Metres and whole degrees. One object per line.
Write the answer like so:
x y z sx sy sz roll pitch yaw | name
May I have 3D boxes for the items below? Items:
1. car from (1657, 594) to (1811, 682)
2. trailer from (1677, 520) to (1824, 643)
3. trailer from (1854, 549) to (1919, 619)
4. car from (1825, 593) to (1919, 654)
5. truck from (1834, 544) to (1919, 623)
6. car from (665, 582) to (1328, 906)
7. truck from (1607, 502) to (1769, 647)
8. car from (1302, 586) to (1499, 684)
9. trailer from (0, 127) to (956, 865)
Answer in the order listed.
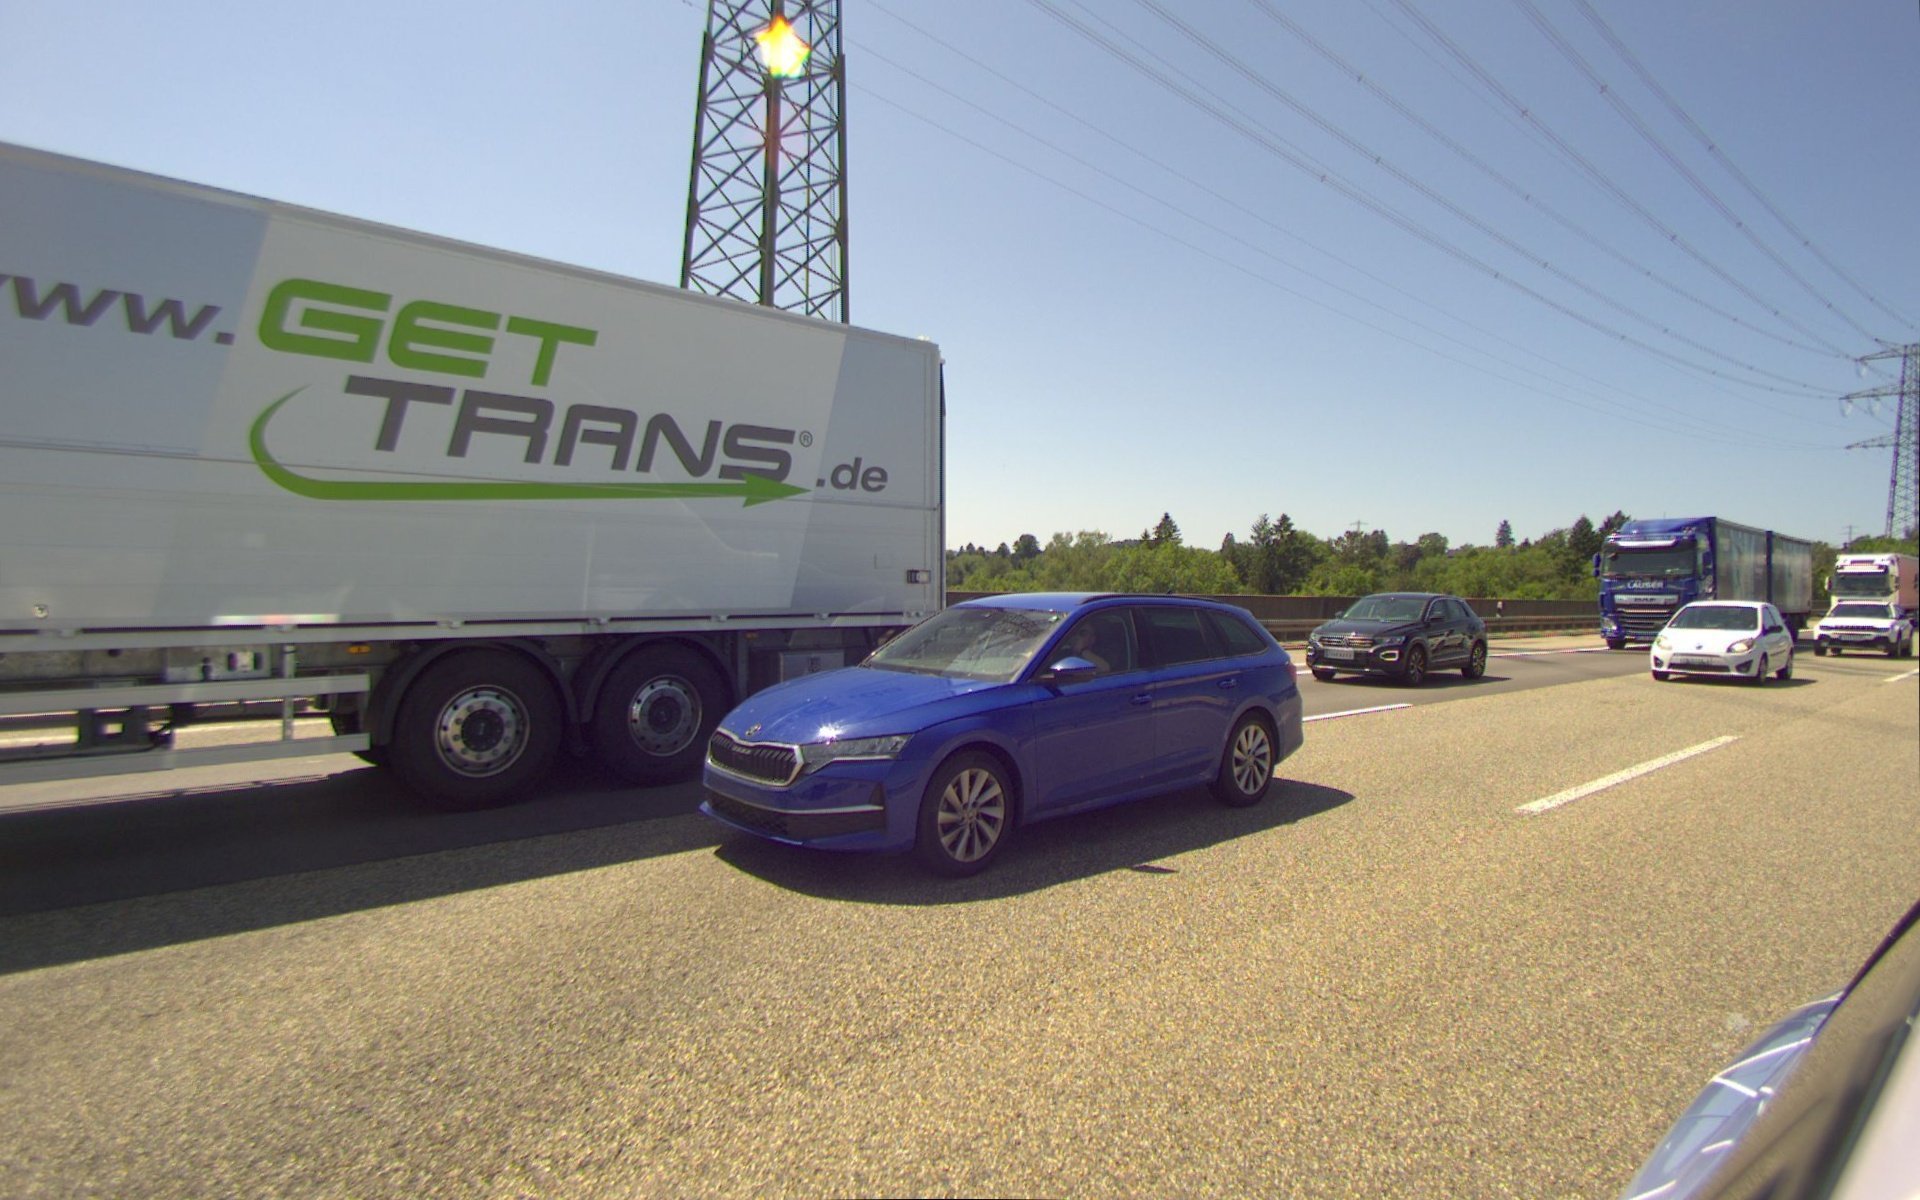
14.306 0.624 18.652 3.566 1.458 1.582 0 0 -41 | car
29.770 -0.679 37.870 10.699 4.044 2.540 -1 0 -42 | trailer
55.051 -0.925 59.355 8.539 3.849 2.901 -1 0 -42 | trailer
25.263 0.605 27.864 3.688 1.554 1.720 0 0 -42 | car
49.391 -0.867 54.307 6.625 3.941 2.911 -1 0 -42 | truck
0.512 0.633 6.670 4.422 1.458 1.712 0 0 -42 | car
22.911 -0.711 31.664 7.790 4.018 2.515 0 0 -42 | truck
7.798 0.535 17.778 3.821 1.524 1.708 0 0 -41 | car
-3.998 -0.517 7.576 8.149 3.640 2.848 0 0 -42 | trailer
